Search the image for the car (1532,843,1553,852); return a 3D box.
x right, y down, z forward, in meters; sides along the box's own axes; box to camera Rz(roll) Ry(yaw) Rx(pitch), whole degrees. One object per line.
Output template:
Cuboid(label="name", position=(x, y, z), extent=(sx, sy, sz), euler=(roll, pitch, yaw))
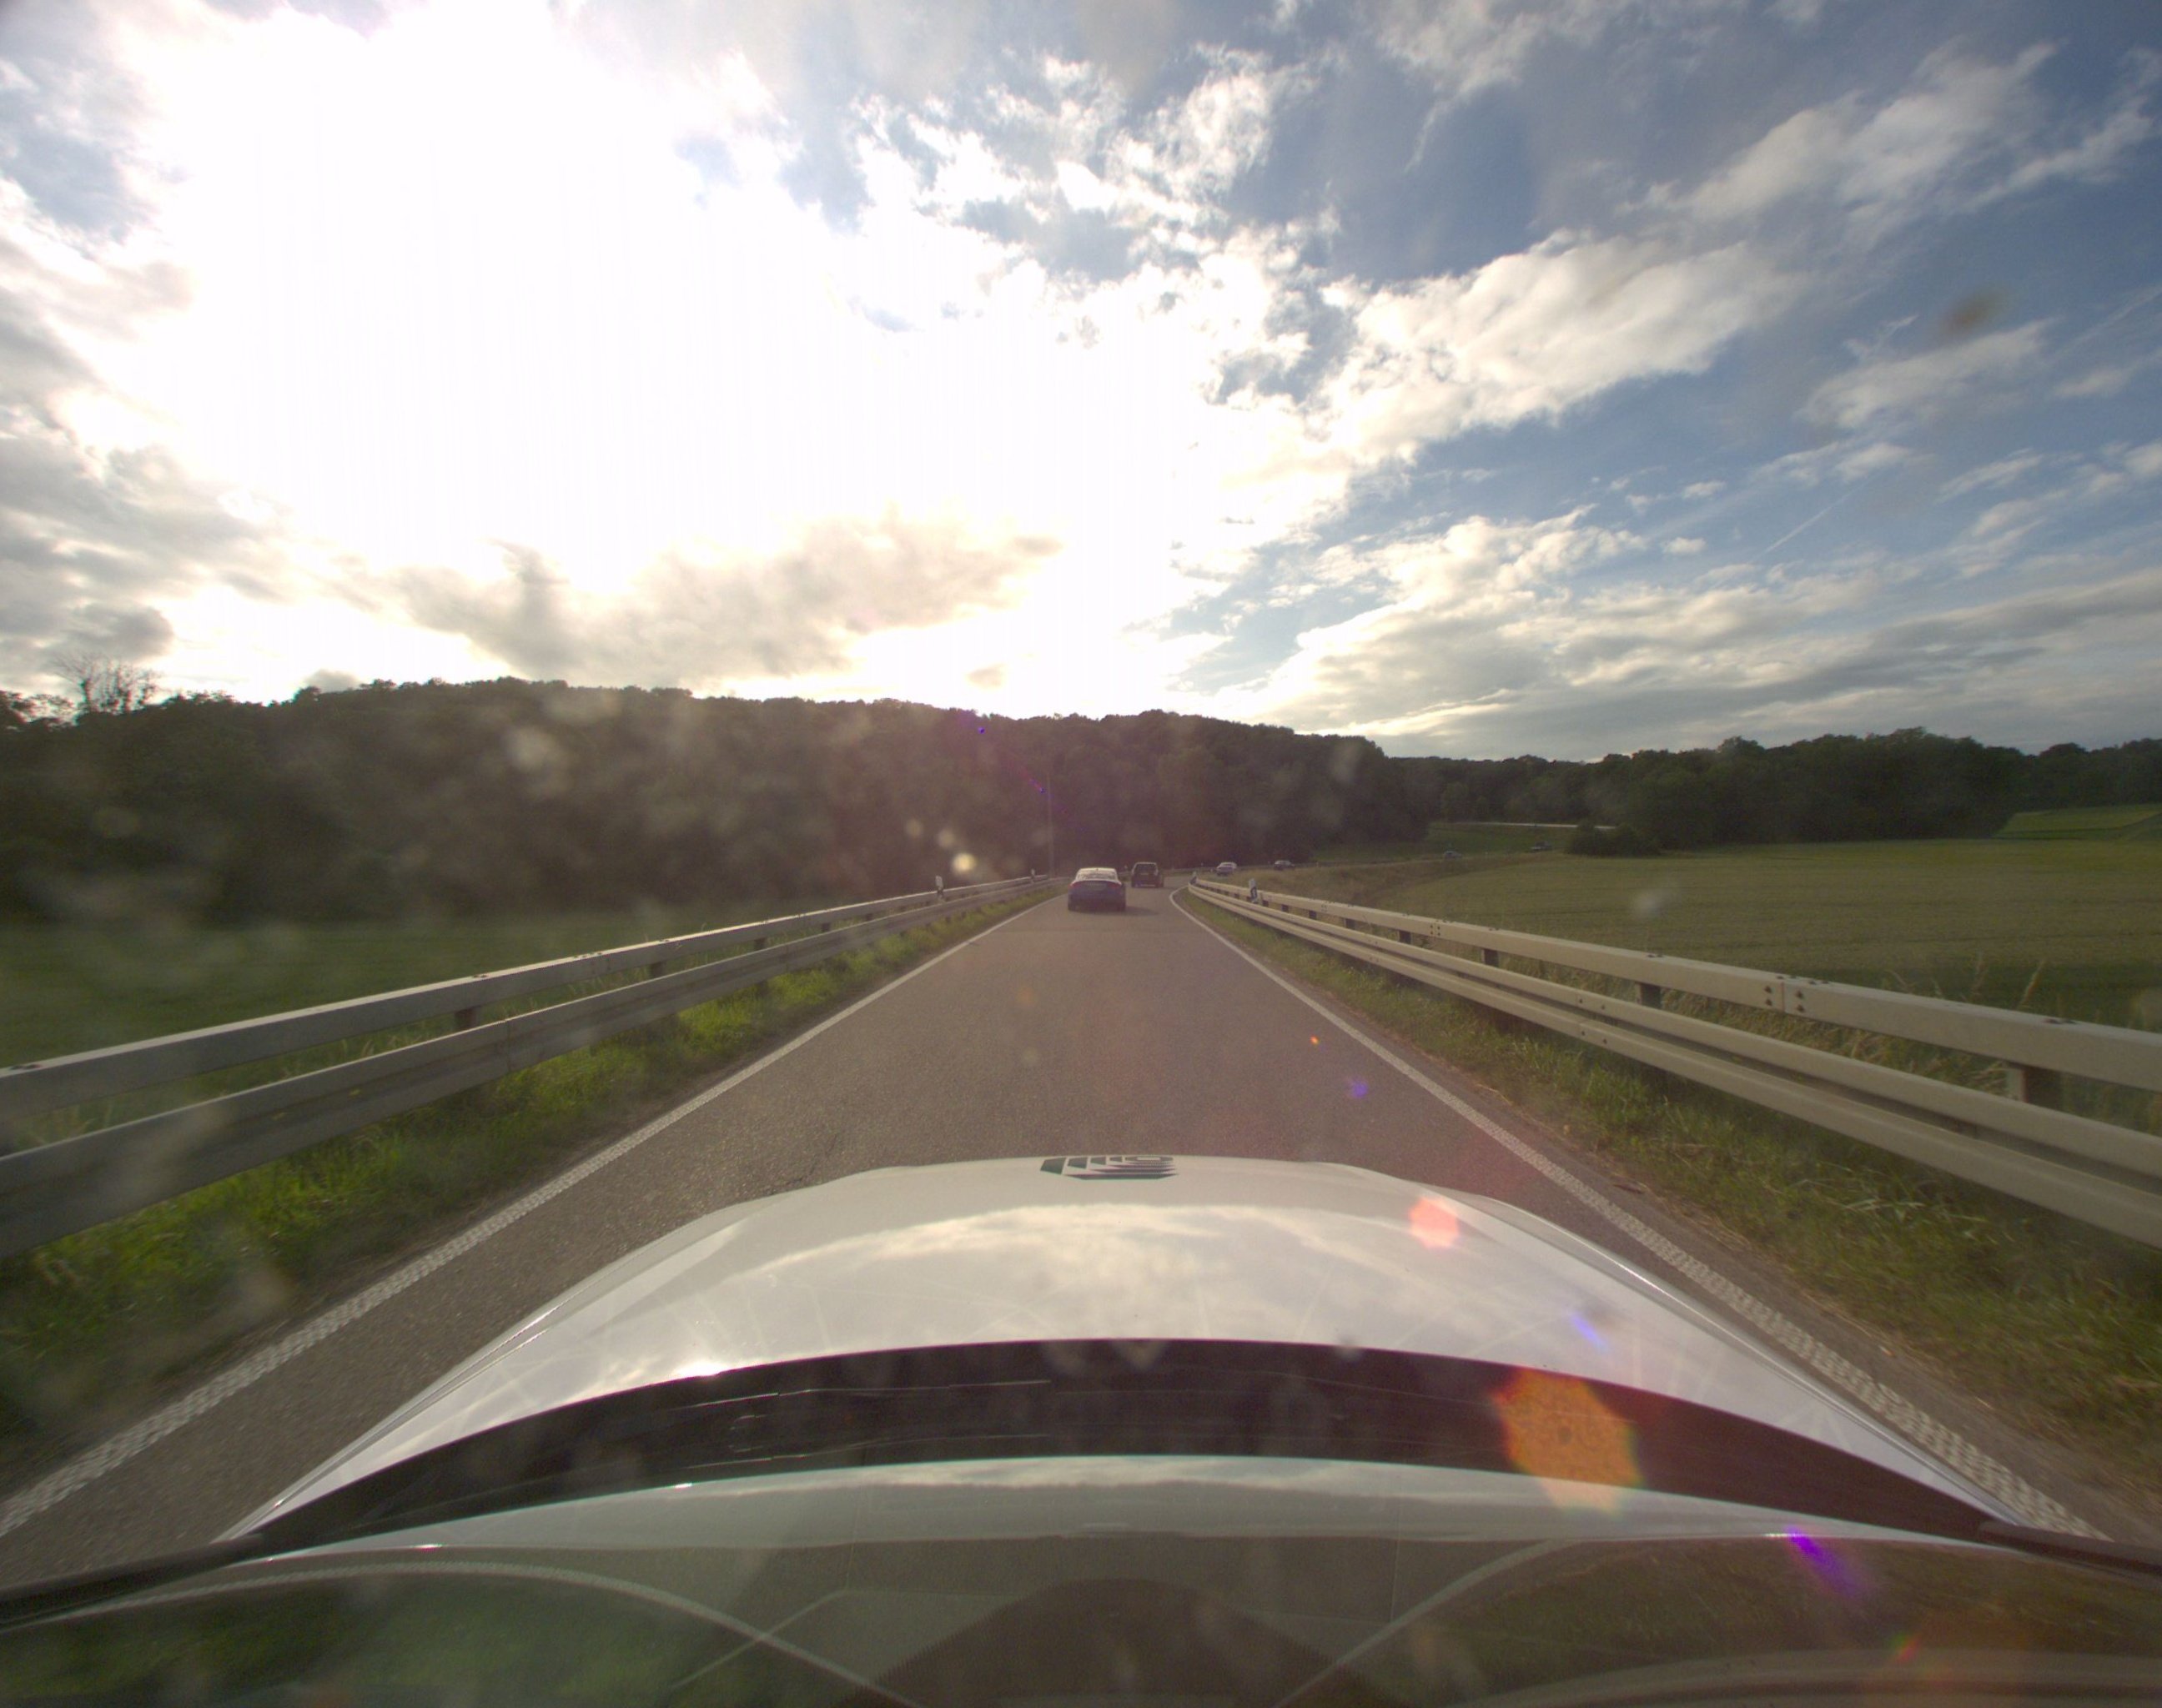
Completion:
Cuboid(label="car", position=(95.712, -1.334, 168.815), extent=(4.010, 1.772, 1.982), euler=(-1, -1, -28))

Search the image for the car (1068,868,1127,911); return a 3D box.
Cuboid(label="car", position=(0.602, 1.138, 27.112), extent=(1.811, 1.339, 4.352), euler=(0, -1, 2))

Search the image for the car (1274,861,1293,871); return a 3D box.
Cuboid(label="car", position=(26.534, 1.554, 106.885), extent=(1.457, 1.227, 3.320), euler=(-3, -3, 31))

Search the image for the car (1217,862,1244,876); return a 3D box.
Cuboid(label="car", position=(15.992, 1.567, 86.821), extent=(1.666, 1.376, 4.024), euler=(-3, -1, 28))

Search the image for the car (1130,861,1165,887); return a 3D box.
Cuboid(label="car", position=(4.351, 1.246, 52.717), extent=(1.850, 1.569, 4.011), euler=(1, 0, 10))
